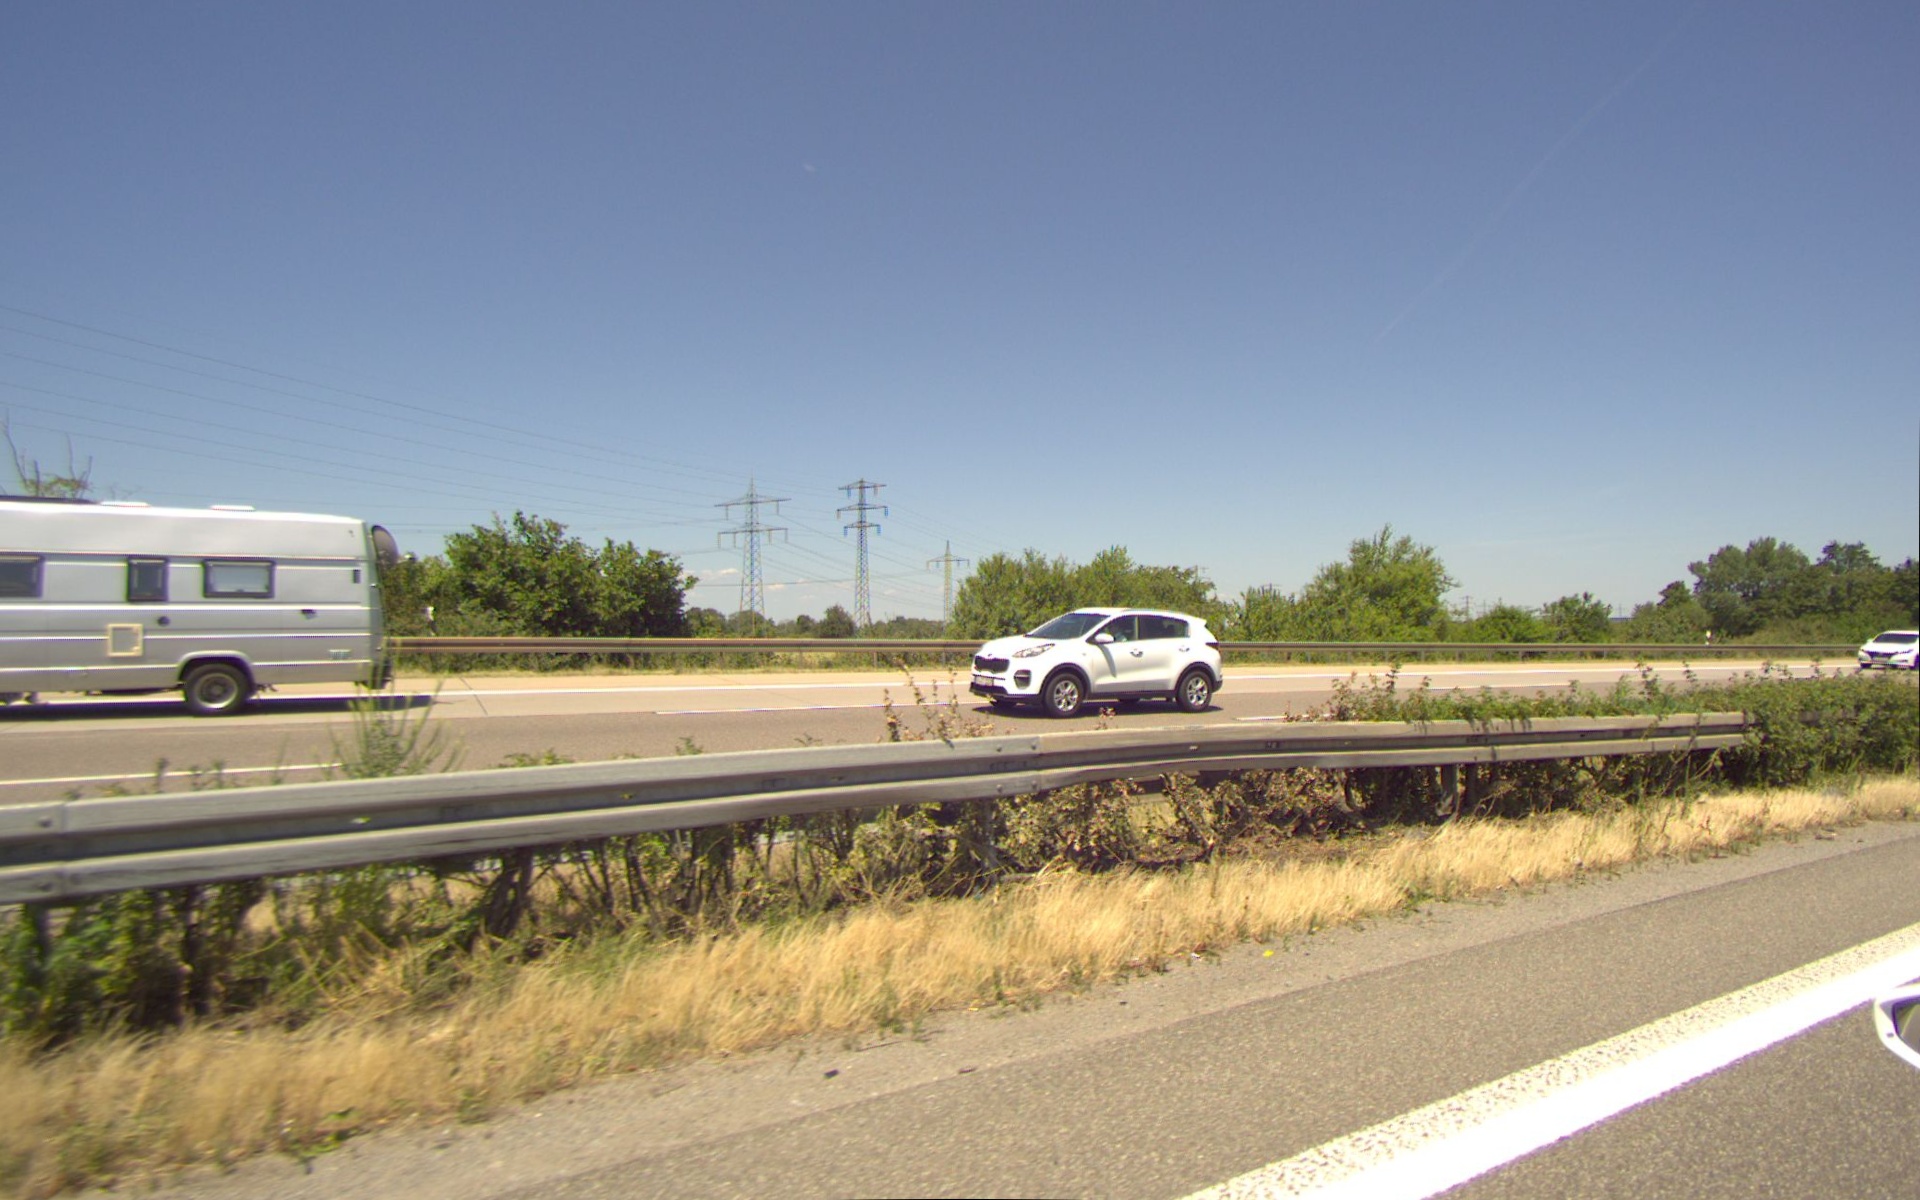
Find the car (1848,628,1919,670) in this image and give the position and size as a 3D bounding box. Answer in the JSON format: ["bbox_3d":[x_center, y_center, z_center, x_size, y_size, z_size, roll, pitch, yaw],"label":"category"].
[{"bbox_3d":[38.593,1.967,41.204,4.769,1.561,1.739,1,1,-29],"label":"car"}]

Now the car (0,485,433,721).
[{"bbox_3d":[-10.854,0.061,12.905,7.101,2.721,1.983,2,-1,-32],"label":"car"}]

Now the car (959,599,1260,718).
[{"bbox_3d":[2.516,0.903,16.427,4.845,1.703,1.779,2,-1,-31],"label":"car"}]
